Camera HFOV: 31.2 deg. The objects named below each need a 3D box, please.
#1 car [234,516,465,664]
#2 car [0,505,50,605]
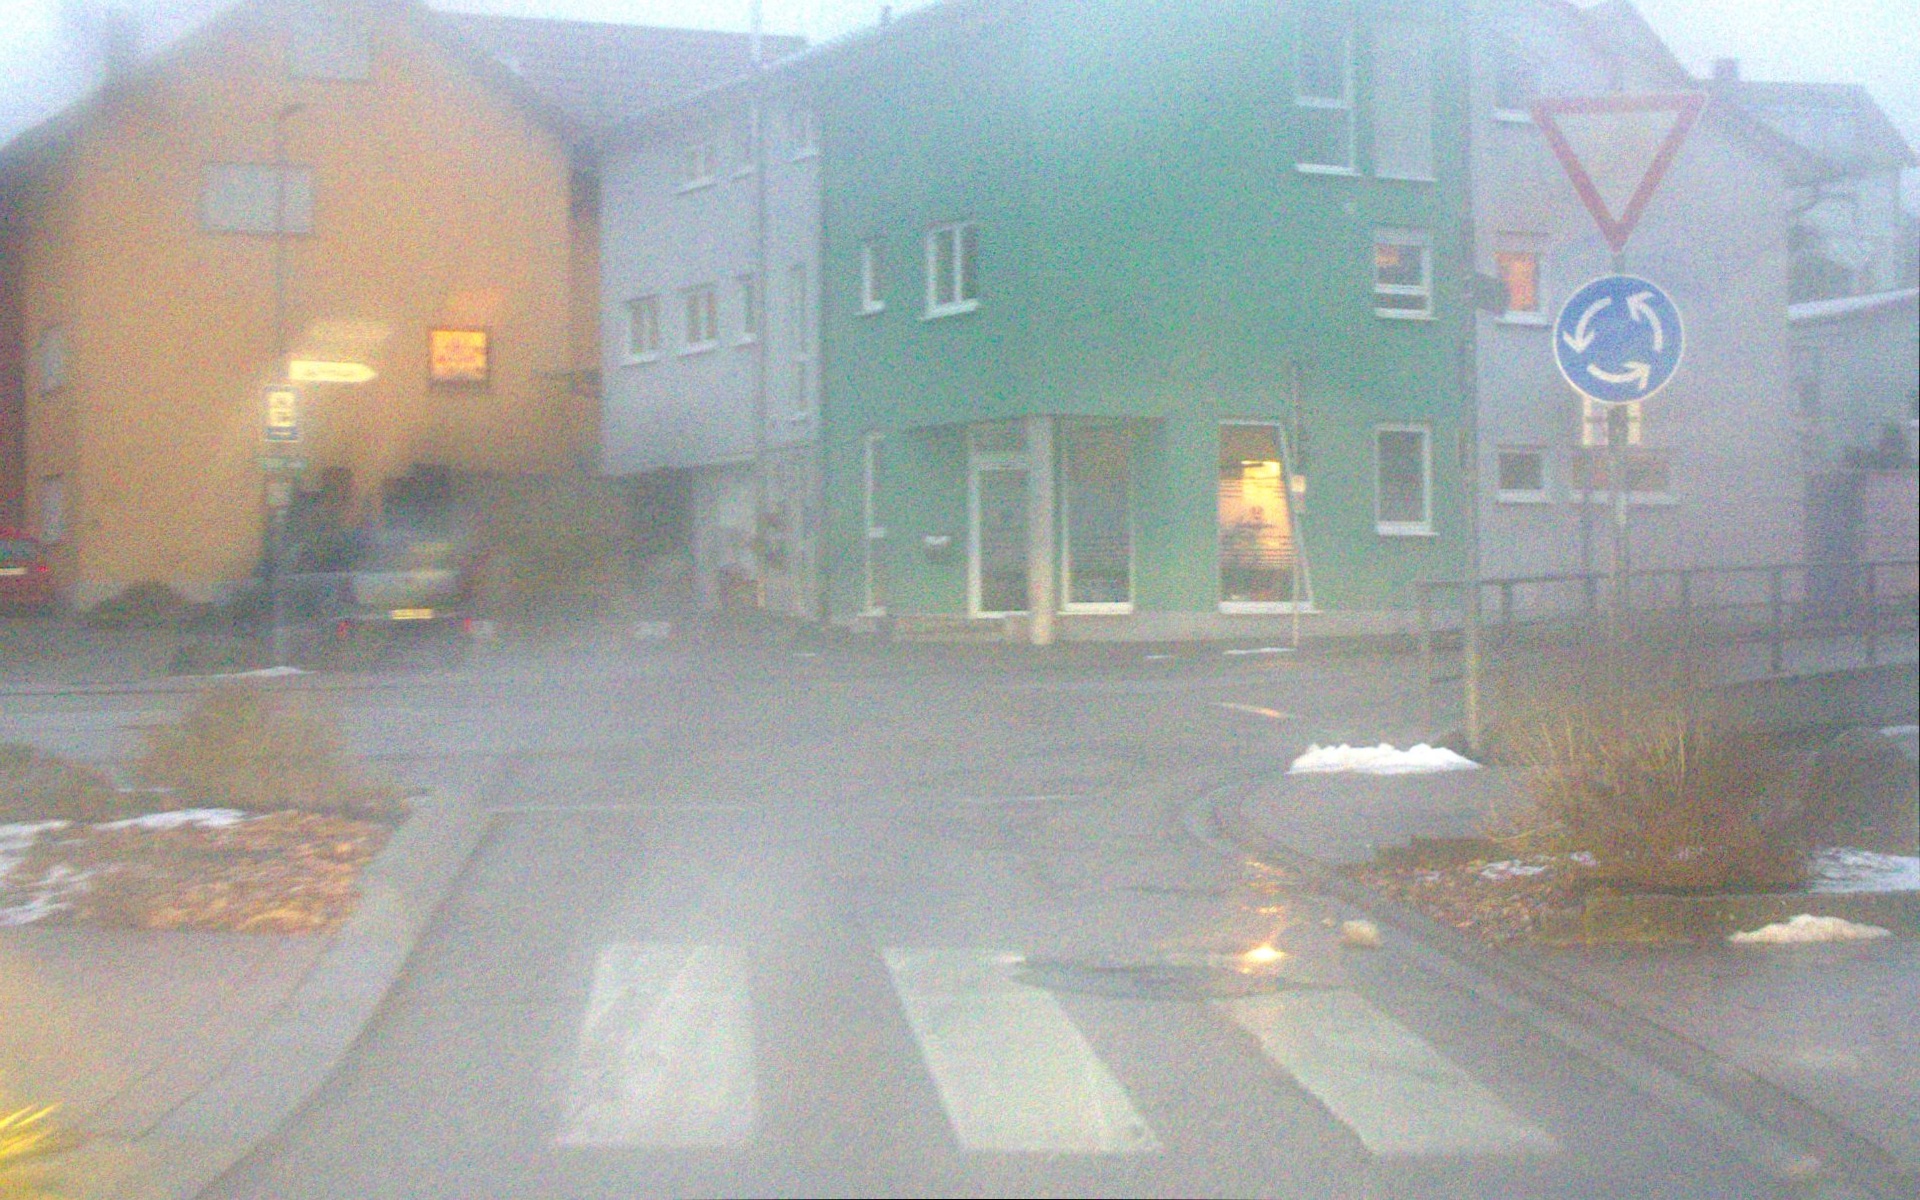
[{"bbox_3d":[-7.322,-0.160,40.945,1.993,1.638,4.001,0,2,-21],"label":"car"},{"bbox_3d":[-16.802,-0.794,58.773,1.993,1.638,4.001,0,2,-21],"label":"car"}]
